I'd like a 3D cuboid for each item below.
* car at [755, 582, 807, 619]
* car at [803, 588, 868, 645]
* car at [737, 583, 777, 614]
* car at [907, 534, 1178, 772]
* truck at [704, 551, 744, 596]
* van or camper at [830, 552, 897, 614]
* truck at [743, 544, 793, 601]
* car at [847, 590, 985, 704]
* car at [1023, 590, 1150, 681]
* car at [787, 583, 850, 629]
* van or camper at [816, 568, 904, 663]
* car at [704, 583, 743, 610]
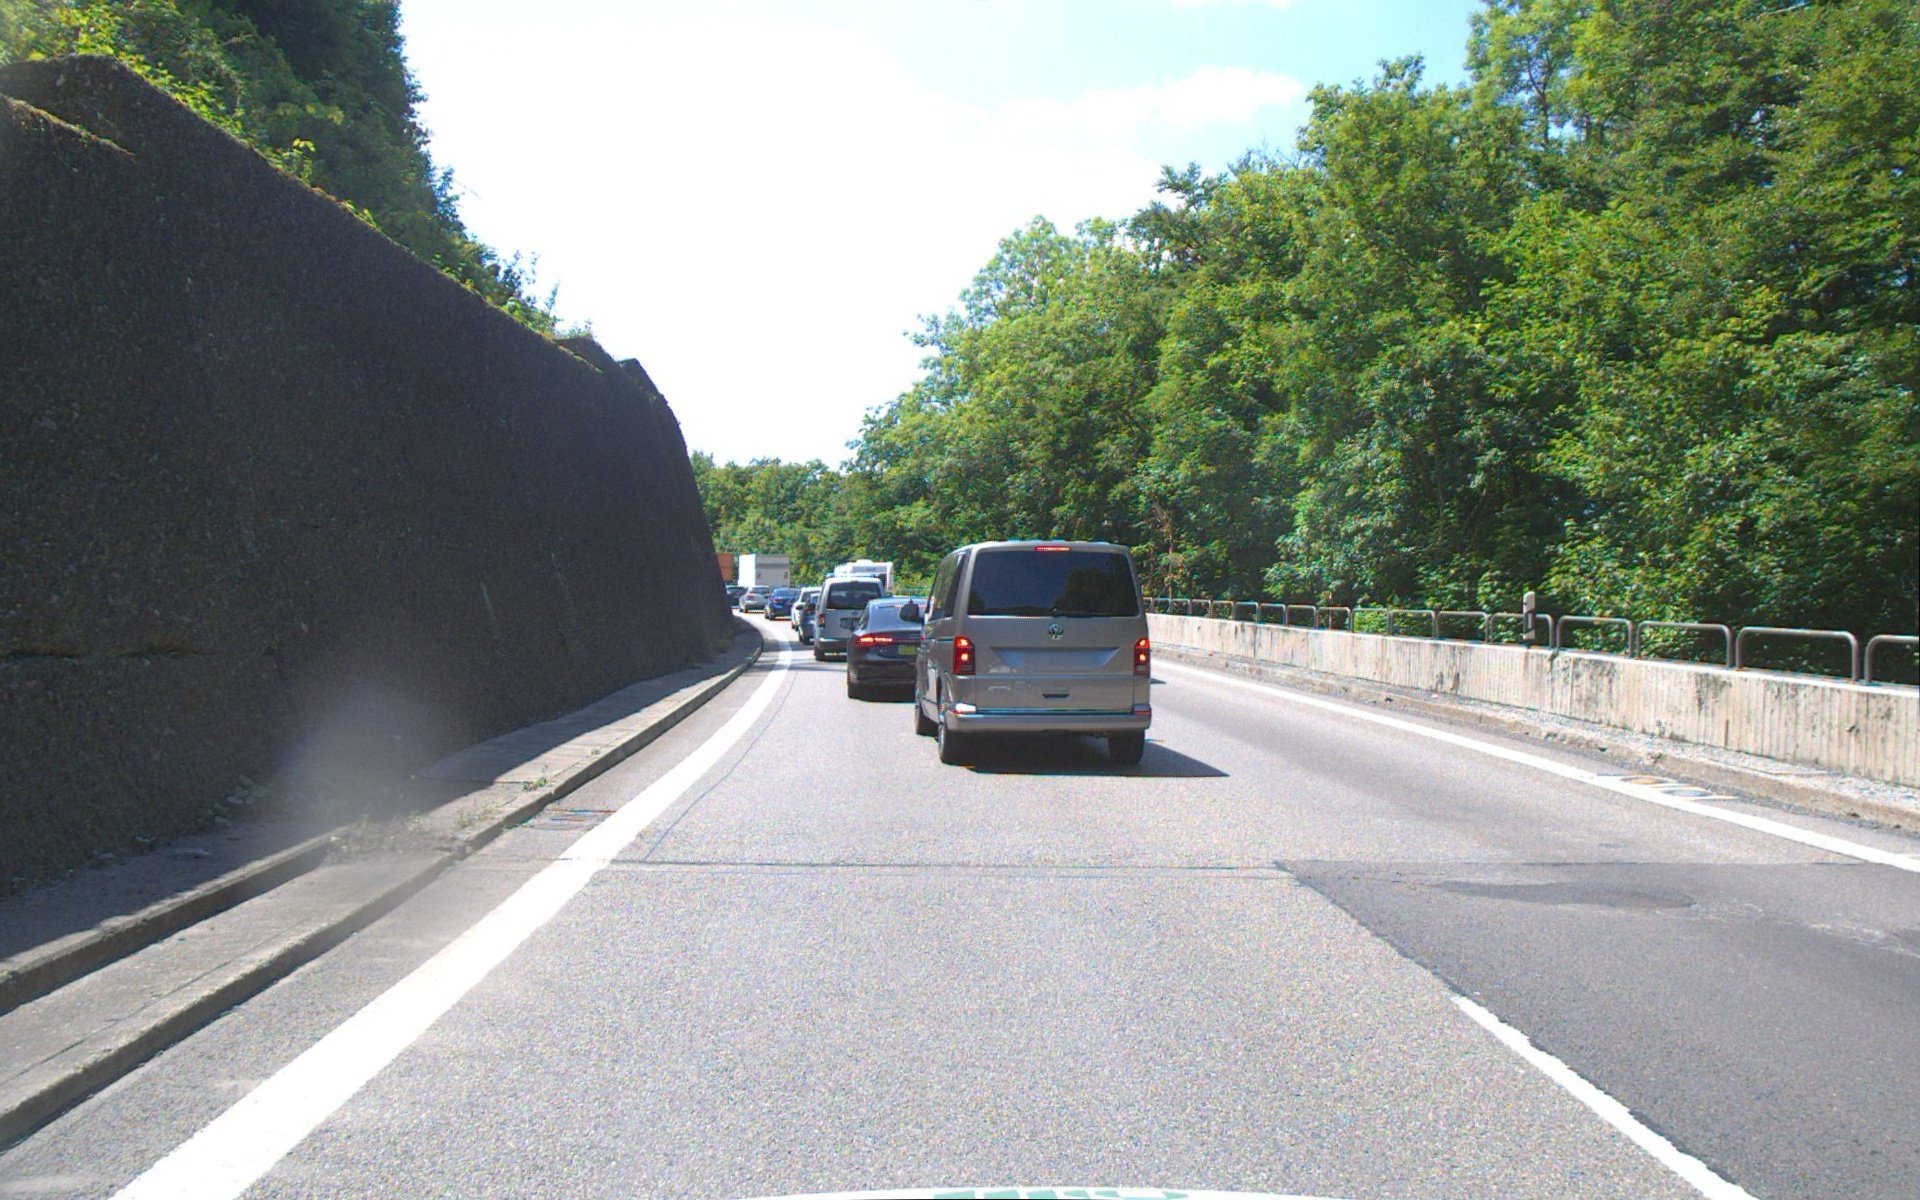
[{"bbox_3d":[-8.302,0.006,76.350,1.827,1.648,3.984,0,1,-15],"label":"car"},{"bbox_3d":[-3.654,0.454,48.210,1.737,1.498,3.996,3,0,-5],"label":"car"},{"bbox_3d":[-11.164,-0.085,90.871,1.957,1.646,3.991,1,0,-10],"label":"car"},{"bbox_3d":[0.631,0.435,16.350,1.903,1.965,4.688,2,0,-7],"label":"car"},{"bbox_3d":[-20.280,-2.276,142.199,3.105,3.528,8.207,4,0,-8],"label":"truck"},{"bbox_3d":[-4.881,-0.844,82.413,2.556,2.905,6.320,1,1,-10],"label":"van or camper"},{"bbox_3d":[-13.969,-1.972,119.879,2.873,3.750,7.706,5,0,-10],"label":"truck"},{"bbox_3d":[-0.698,0.635,24.880,1.867,1.515,4.377,1,0,-3],"label":"car"},{"bbox_3d":[2.198,0.591,29.615,1.652,1.484,3.996,1,0,-5],"label":"car"},{"bbox_3d":[-5.250,0.215,60.994,1.862,1.612,3.759,-1,0,-12],"label":"car"},{"bbox_3d":[-2.290,0.313,37.560,1.817,1.976,4.162,2,0,-4],"label":"van or camper"},{"bbox_3d":[-14.620,-0.210,102.141,1.724,1.598,3.752,1,0,-18],"label":"car"}]
